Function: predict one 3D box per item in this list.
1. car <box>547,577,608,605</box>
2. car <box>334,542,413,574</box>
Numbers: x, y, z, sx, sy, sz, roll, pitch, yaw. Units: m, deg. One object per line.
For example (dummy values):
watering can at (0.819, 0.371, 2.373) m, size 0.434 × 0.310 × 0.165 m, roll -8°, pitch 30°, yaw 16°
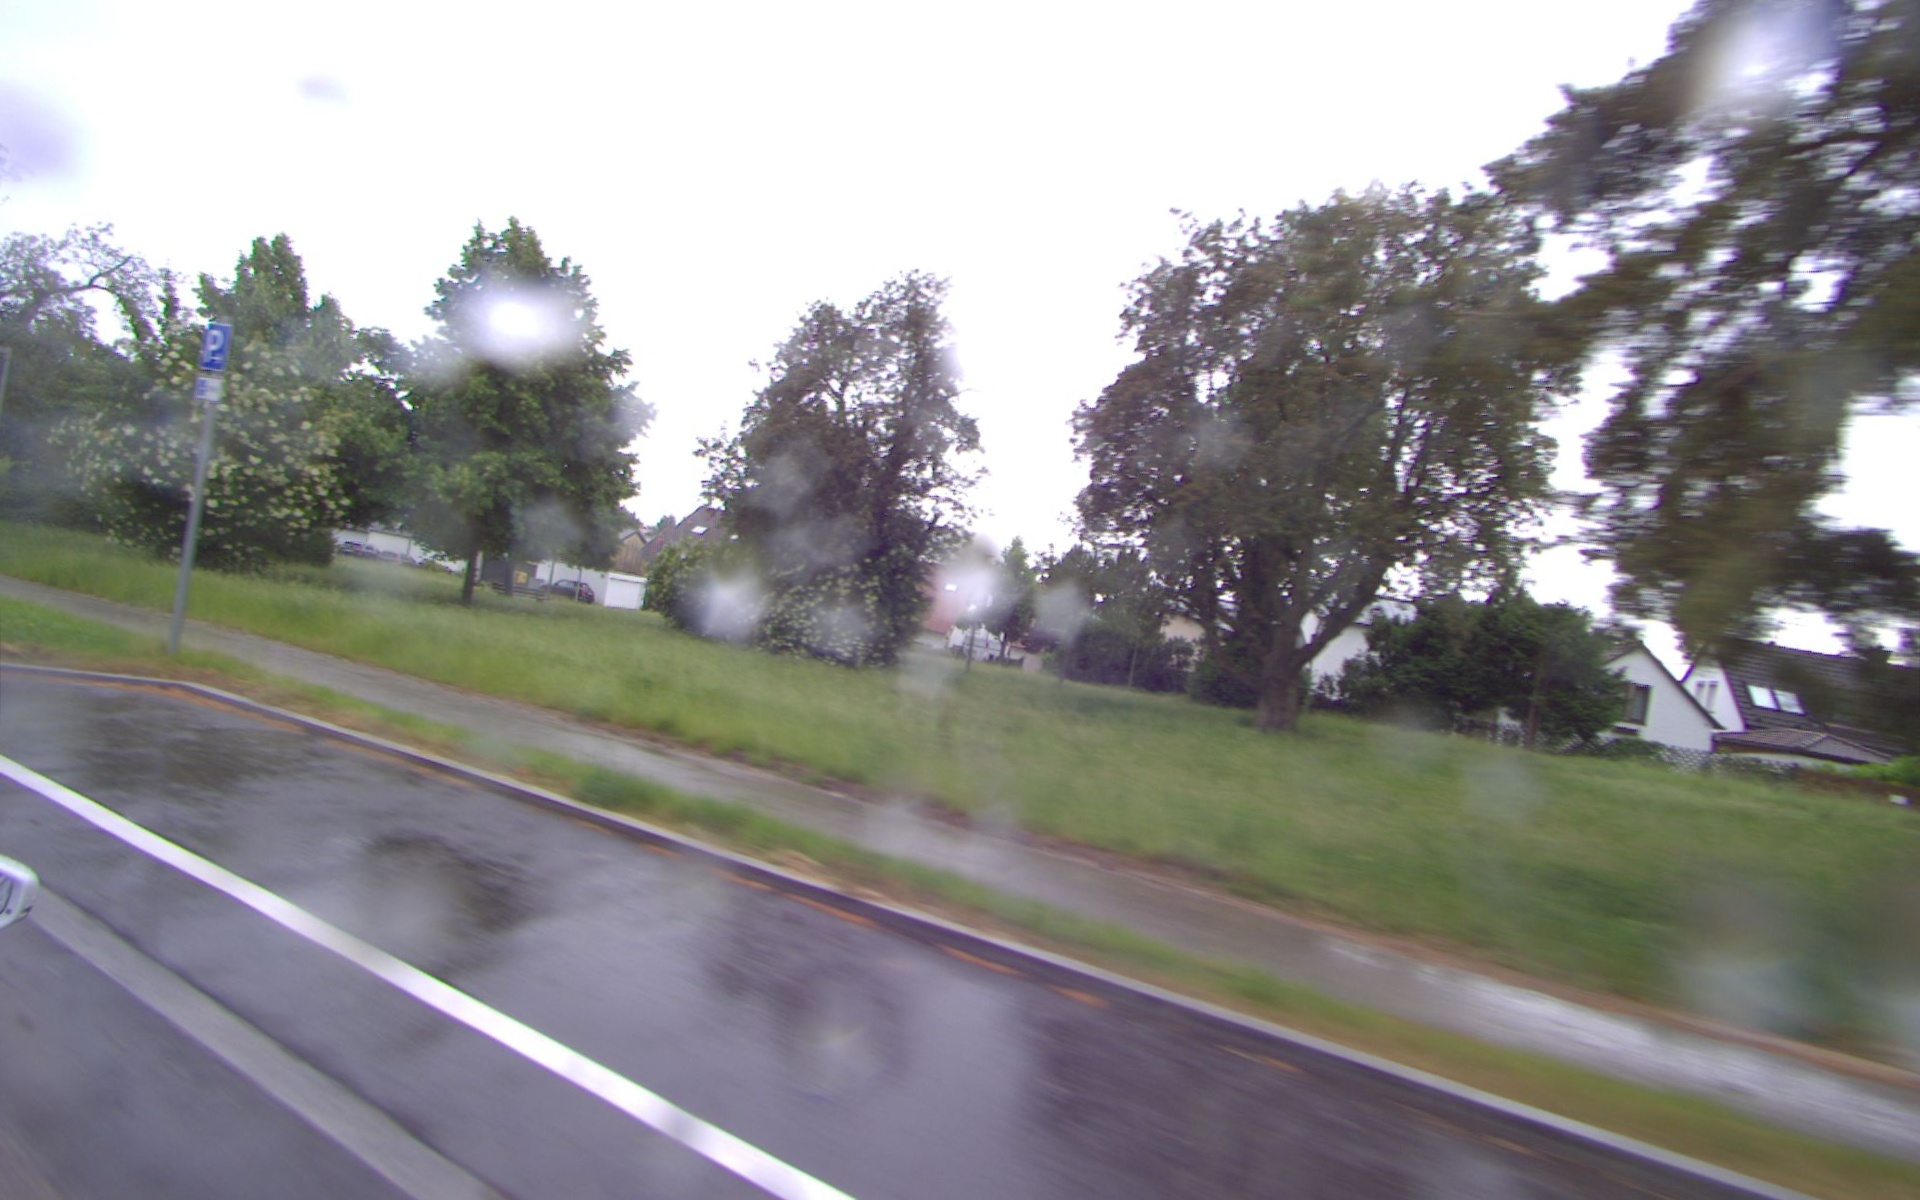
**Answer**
car at (-26.236, -0.619, 68.981) m, size 3.467 × 1.250 × 1.462 m, roll 9°, pitch -3°, yaw 7°
car at (-42.991, -3.067, 73.799) m, size 4.479 × 1.771 × 1.910 m, roll 6°, pitch 0°, yaw -8°
